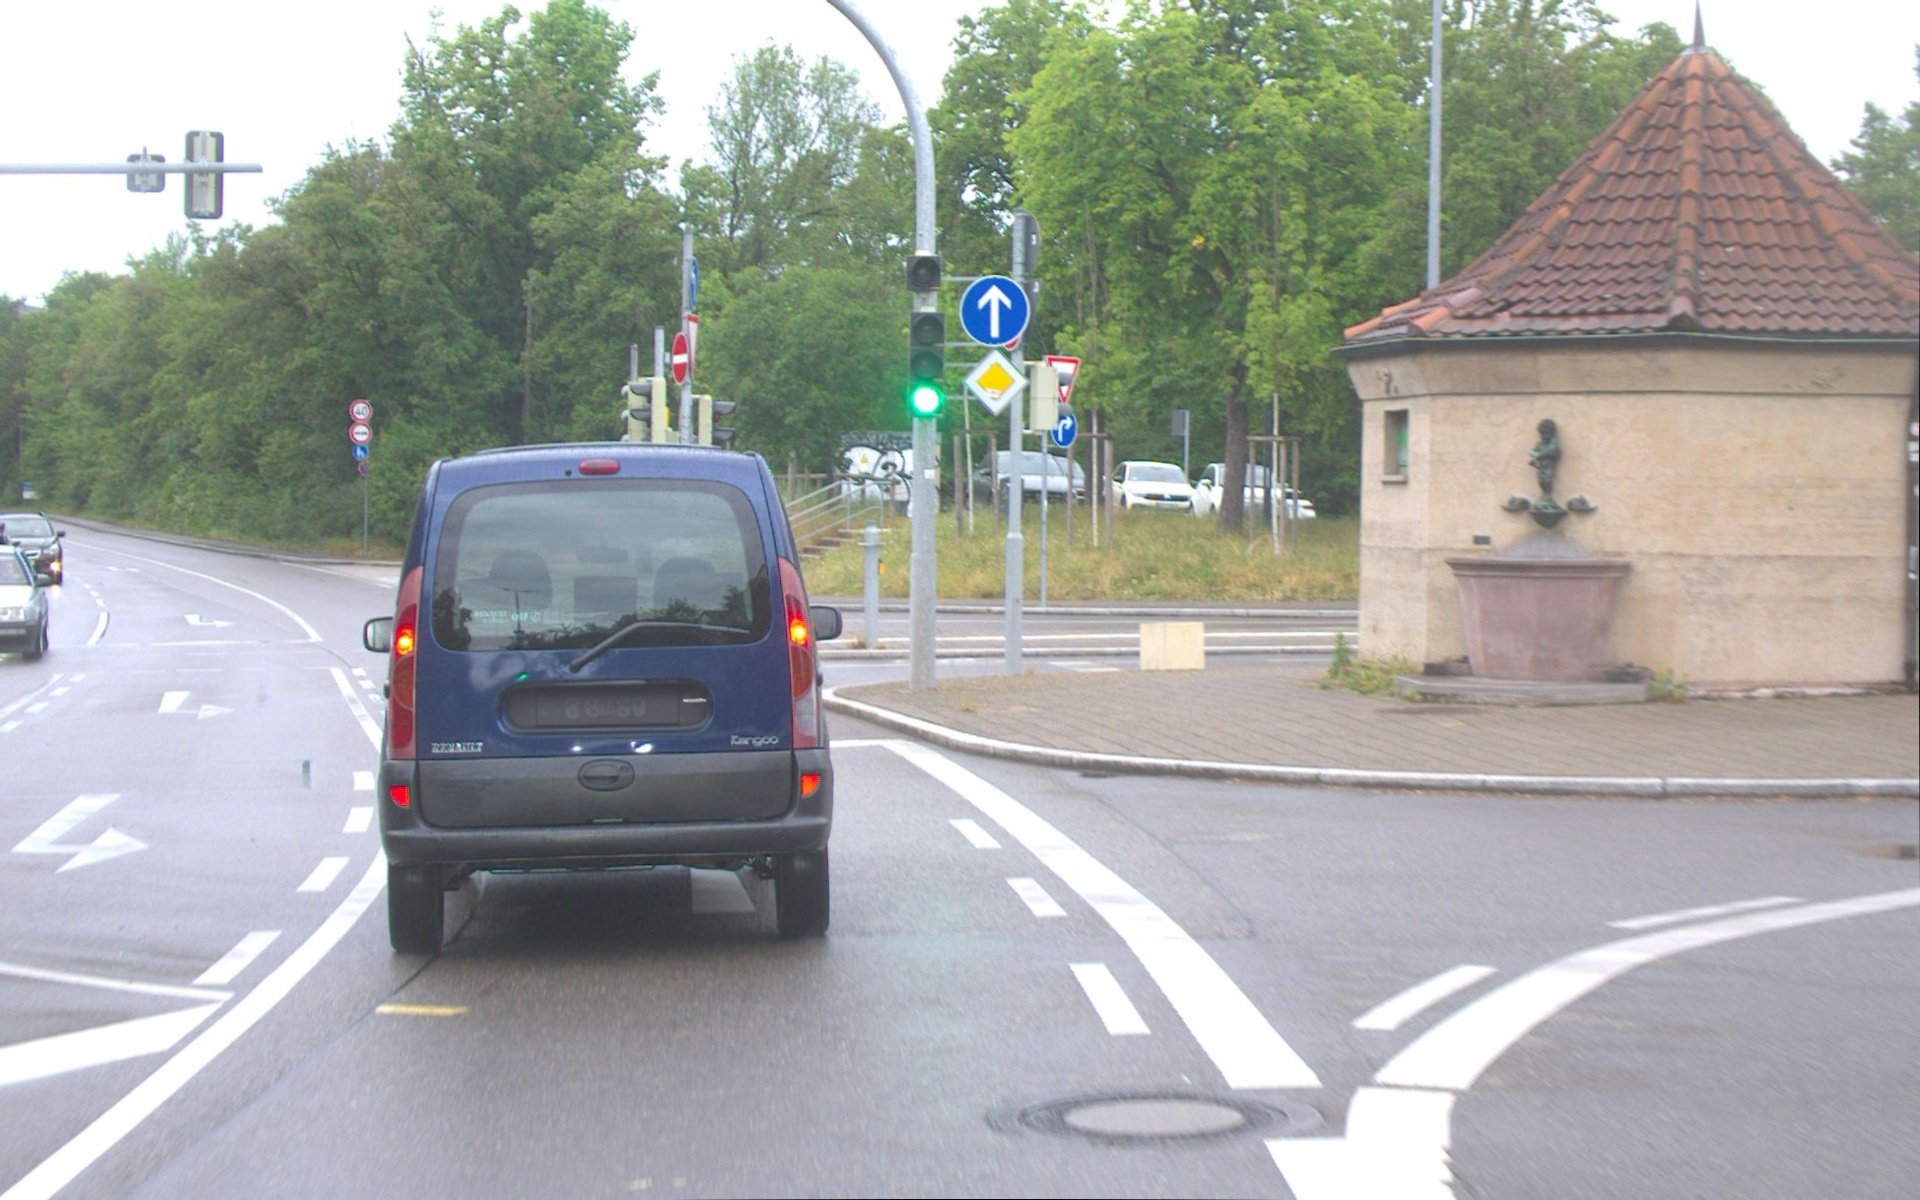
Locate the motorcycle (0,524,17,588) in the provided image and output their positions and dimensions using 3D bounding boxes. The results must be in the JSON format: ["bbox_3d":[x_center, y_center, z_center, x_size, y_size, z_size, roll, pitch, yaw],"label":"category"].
[{"bbox_3d":[-16.533,-0.761,58.820,0.594,1.047,1.999,-1,2,-11],"label":"motorcycle"}]

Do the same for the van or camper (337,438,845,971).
[{"bbox_3d":[-1.484,0.308,13.807,1.712,1.819,4.001,1,2,-6],"label":"van or camper"}]

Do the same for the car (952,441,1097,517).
[{"bbox_3d":[1.307,-2.518,72.085,1.993,1.475,4.286,2,1,-13],"label":"car"}]

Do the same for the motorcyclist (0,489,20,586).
[{"bbox_3d":[-16.514,-1.069,58.747,0.745,1.626,0.927,-1,2,-10],"label":"motorcyclist"}]

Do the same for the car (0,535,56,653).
[{"bbox_3d":[-12.393,-0.094,43.188,1.740,1.347,4.211,-1,2,-12],"label":"car"}]

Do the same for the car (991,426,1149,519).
[{"bbox_3d":[2.102,-2.497,66.864,1.993,1.656,4.002,2,2,-14],"label":"car"}]

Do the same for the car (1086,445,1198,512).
[{"bbox_3d":[4.413,-2.948,83.869,1.885,1.475,4.070,2,1,-9],"label":"car"}]

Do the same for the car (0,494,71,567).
[{"bbox_3d":[-21.174,-1.598,78.000,1.788,1.575,4.563,-1,2,-13],"label":"car"}]

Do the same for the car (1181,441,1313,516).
[{"bbox_3d":[6.088,-2.563,73.384,1.885,1.475,4.070,2,1,-9],"label":"car"}]

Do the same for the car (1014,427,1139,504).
[{"bbox_3d":[2.701,-3.162,80.762,1.993,1.656,4.474,3,2,-10],"label":"car"}]
